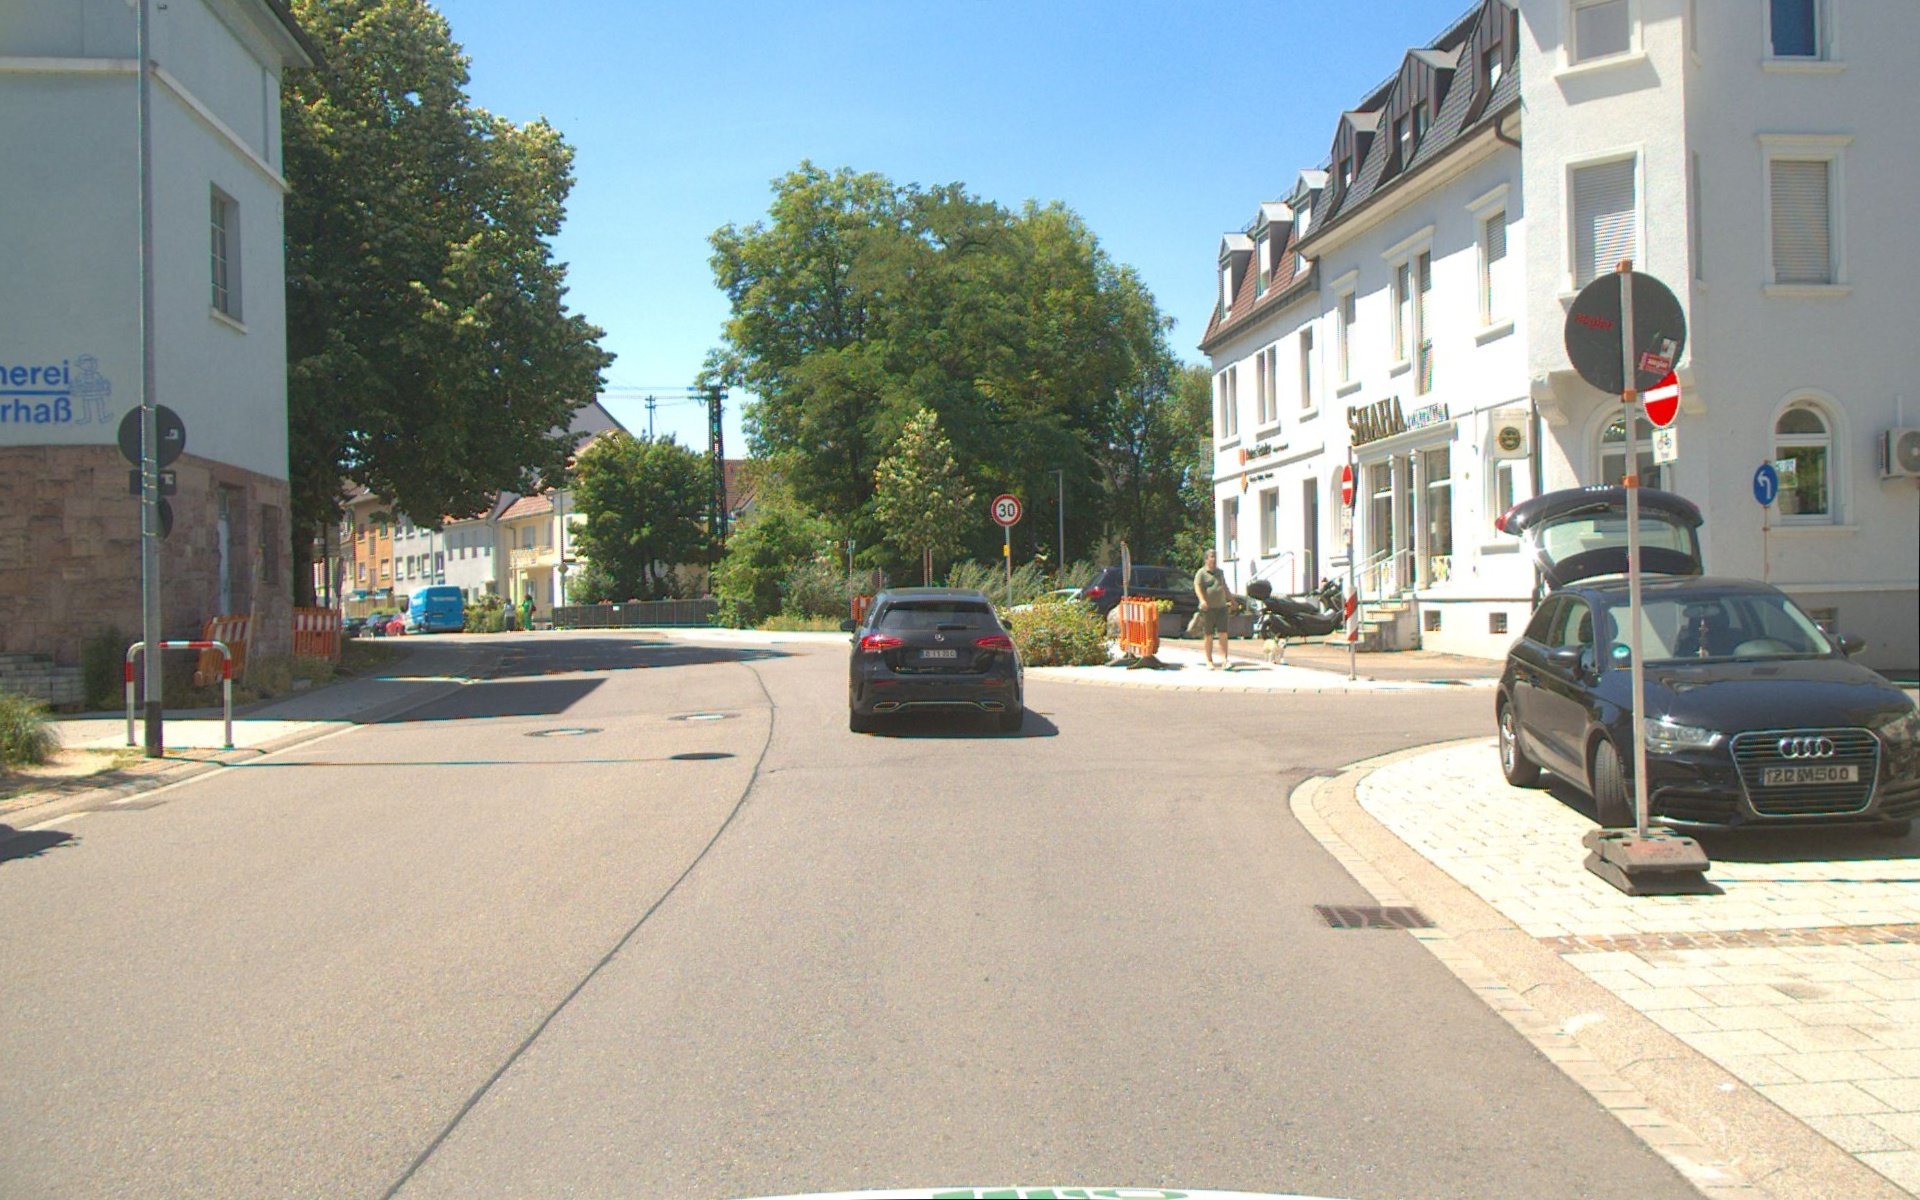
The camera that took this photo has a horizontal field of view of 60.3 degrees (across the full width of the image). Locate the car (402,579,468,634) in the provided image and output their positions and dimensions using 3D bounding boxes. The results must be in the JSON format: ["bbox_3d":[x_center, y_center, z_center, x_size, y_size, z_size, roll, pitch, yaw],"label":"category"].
[{"bbox_3d":[-25.670,0.339,80.850,2.111,2.586,4.601,-1,-1,-30],"label":"car"}]

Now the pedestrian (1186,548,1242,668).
[{"bbox_3d":[3.936,0.110,25.689,0.730,1.827,0.844,-1,1,2],"label":"pedestrian"}]

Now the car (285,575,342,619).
[{"bbox_3d":[-36.103,-0.149,92.295,2.222,2.384,4.802,0,0,-31],"label":"car"}]

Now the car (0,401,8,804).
[{"bbox_3d":[-9.365,-0.006,10.102,5.654,2.780,2.289,0,-1,-5],"label":"car"}]

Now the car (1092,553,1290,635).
[{"bbox_3d":[5.065,-0.116,36.524,3.998,1.746,1.853,0,-1,-7],"label":"car"}]

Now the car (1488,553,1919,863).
[{"bbox_3d":[4.611,0.512,10.341,1.832,1.517,3.865,-2,1,8],"label":"car"}]

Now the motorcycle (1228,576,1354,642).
[{"bbox_3d":[6.636,0.172,33.198,2.331,1.297,0.855,0,0,-6],"label":"motorcycle"}]

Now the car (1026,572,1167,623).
[{"bbox_3d":[4.105,-0.070,49.471,4.167,1.373,1.832,1,3,-43],"label":"car"}]

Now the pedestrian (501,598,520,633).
[{"bbox_3d":[-21.424,0.737,78.861,0.609,1.641,0.827,-1,-1,-36],"label":"pedestrian"}]

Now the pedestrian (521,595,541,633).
[{"bbox_3d":[-20.307,0.669,78.286,0.689,1.772,0.659,-2,-1,42],"label":"pedestrian"}]

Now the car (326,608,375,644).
[{"bbox_3d":[-36.016,1.518,97.704,1.974,2.049,3.957,-1,0,-31],"label":"car"}]

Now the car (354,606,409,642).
[{"bbox_3d":[-31.686,1.325,90.510,1.974,1.776,4.282,-1,-2,-31],"label":"car"}]

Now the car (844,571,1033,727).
[{"bbox_3d":[-0.254,0.540,17.970,1.791,1.467,3.998,-1,-2,-2],"label":"car"}]

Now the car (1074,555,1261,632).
[{"bbox_3d":[4.787,-0.138,38.482,3.998,1.746,1.853,0,-1,-7],"label":"car"}]
